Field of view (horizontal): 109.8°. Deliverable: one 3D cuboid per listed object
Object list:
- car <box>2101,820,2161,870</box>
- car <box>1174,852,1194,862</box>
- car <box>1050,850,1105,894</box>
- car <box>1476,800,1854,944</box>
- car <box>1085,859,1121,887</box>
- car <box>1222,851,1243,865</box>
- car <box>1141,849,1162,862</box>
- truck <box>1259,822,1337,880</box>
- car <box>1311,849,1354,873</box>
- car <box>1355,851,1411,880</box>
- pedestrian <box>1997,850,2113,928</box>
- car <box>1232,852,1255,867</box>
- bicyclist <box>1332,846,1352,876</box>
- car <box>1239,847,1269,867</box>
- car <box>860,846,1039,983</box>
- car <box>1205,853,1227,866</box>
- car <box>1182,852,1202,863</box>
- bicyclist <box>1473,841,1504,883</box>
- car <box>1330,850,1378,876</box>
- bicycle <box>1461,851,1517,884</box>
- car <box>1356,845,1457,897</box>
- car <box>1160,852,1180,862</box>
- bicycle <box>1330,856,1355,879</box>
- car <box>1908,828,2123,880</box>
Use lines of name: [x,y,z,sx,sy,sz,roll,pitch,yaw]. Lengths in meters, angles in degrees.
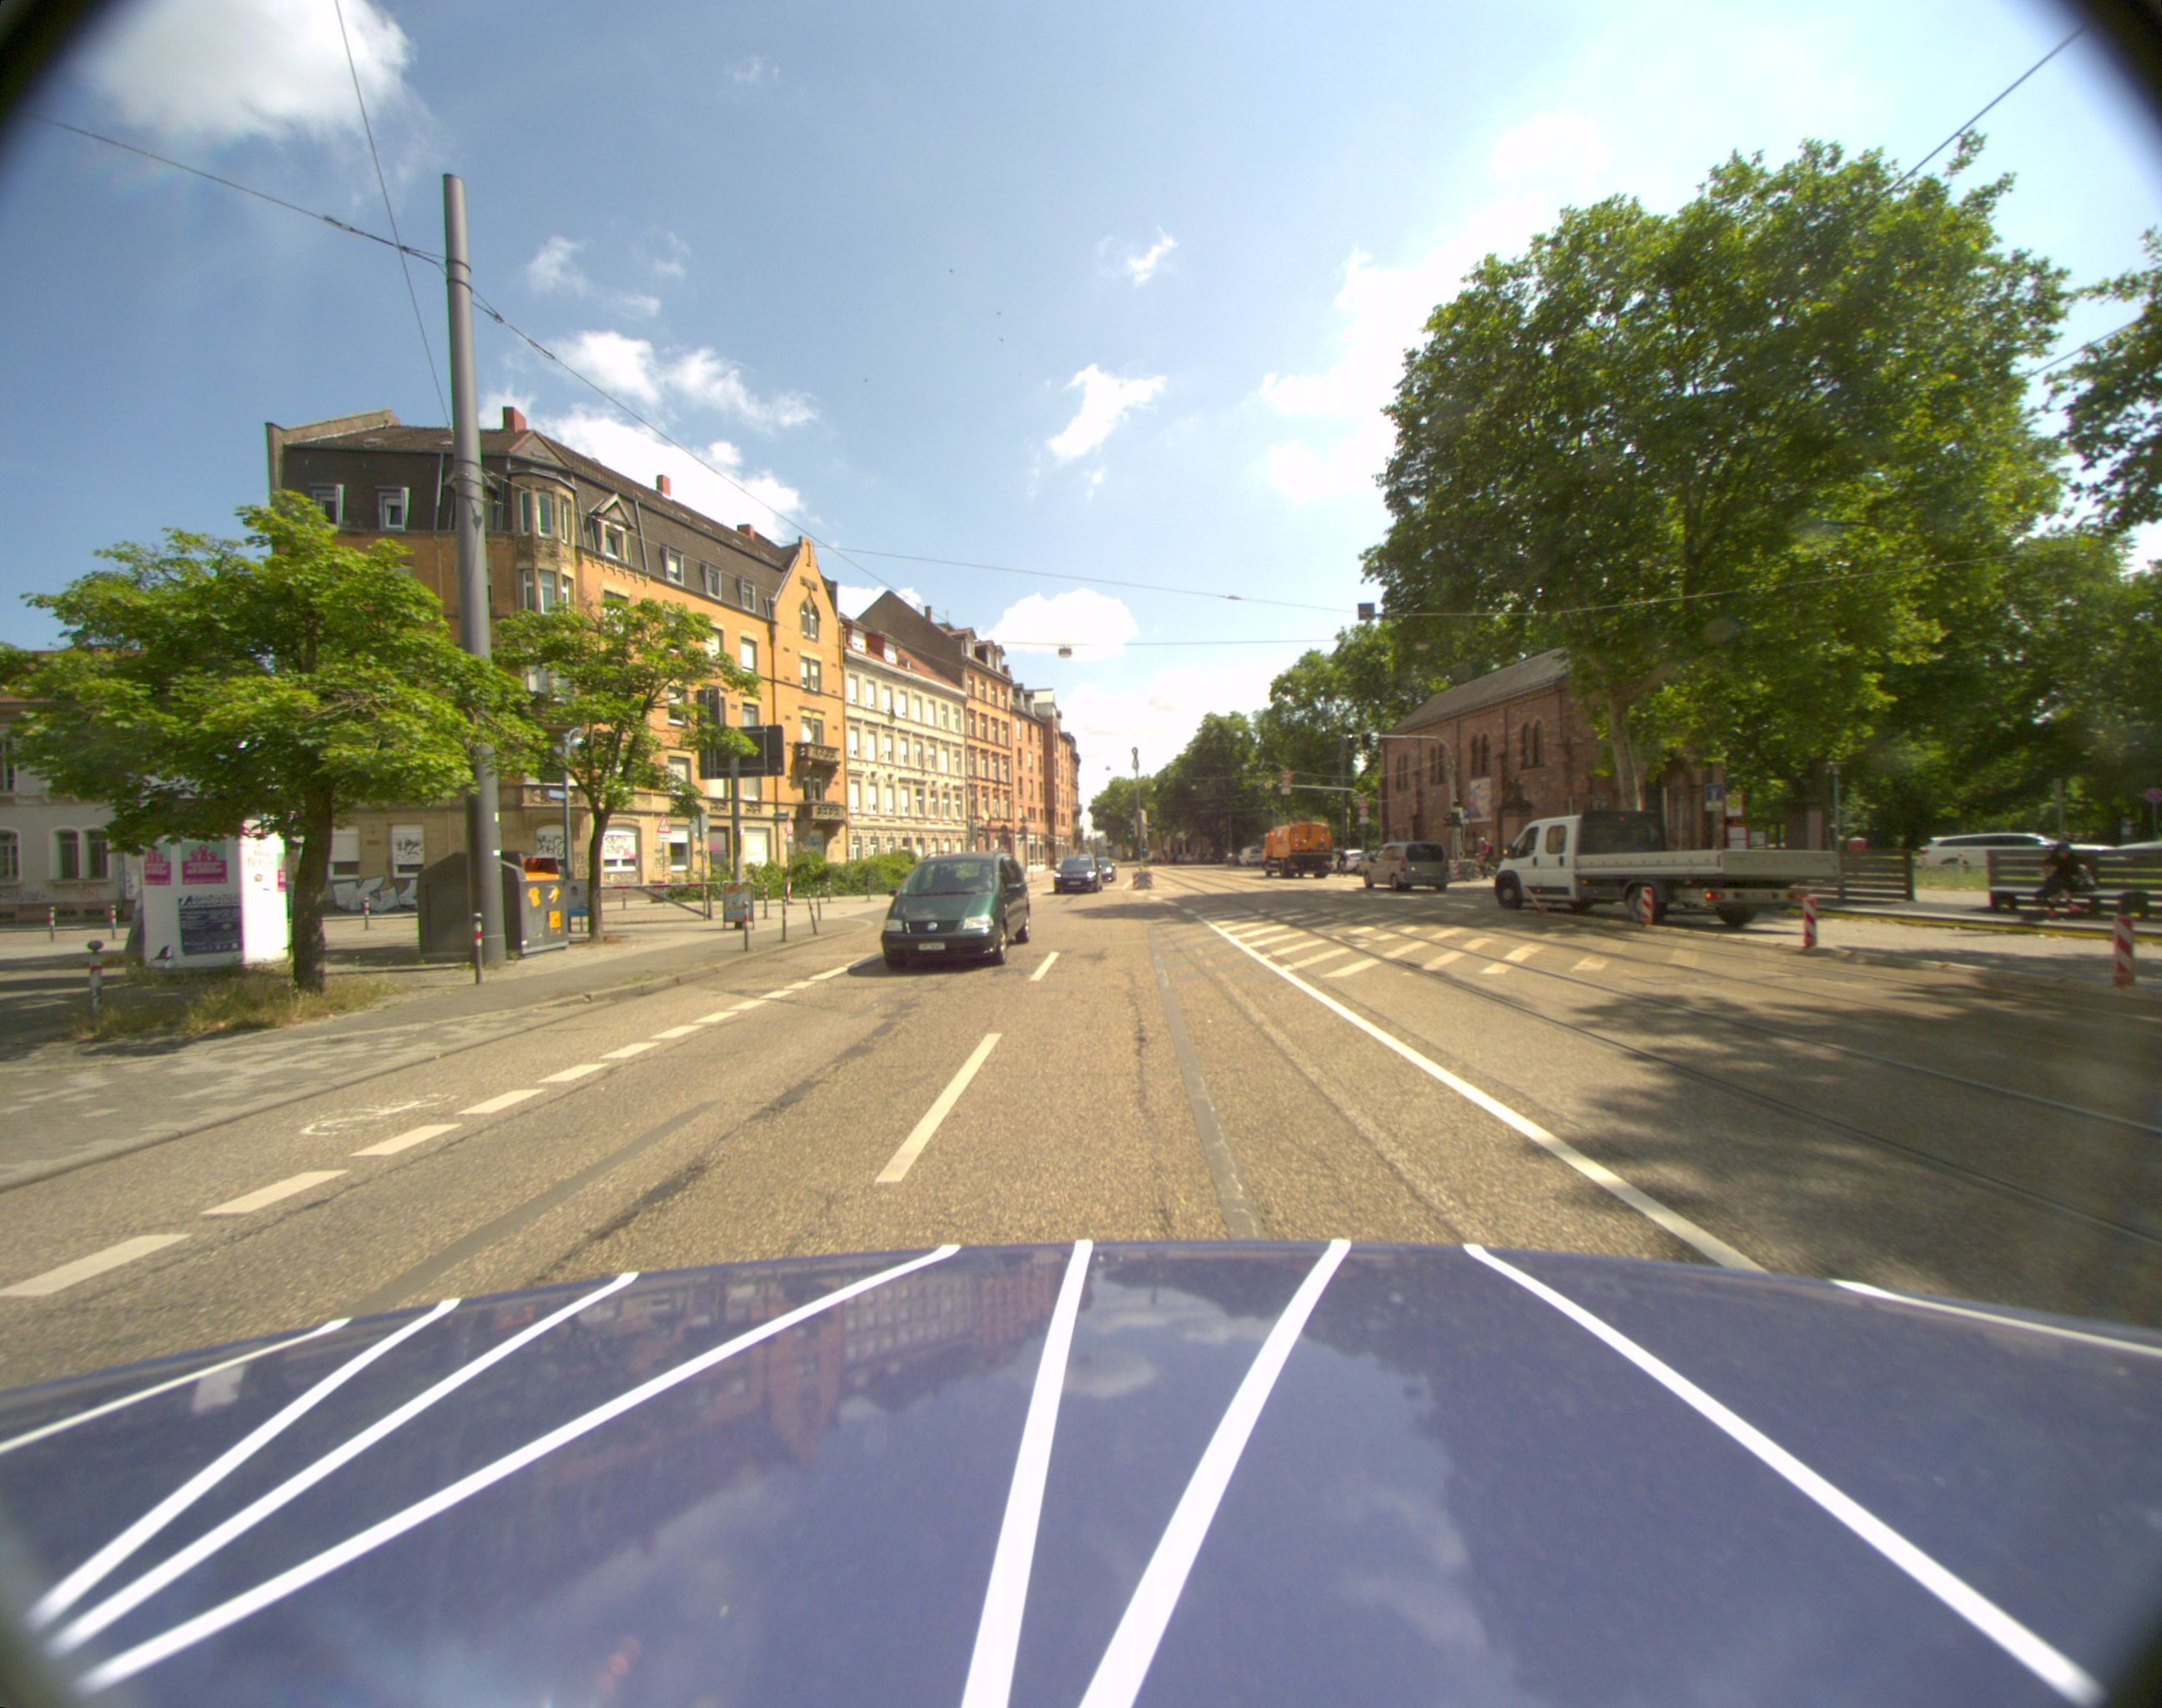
car: [38.254,-0.335,25.939,1.764,1.683,3.990,-2,1,-33]
car: [15.374,0.439,113.469,1.762,1.488,3.997,-3,1,-8]
car: [-0.078,0.719,32.405,1.874,1.610,4.190,-2,1,6]
car: [11.477,0.294,16.038,2.262,2.360,6.978,1,0,-4]
car: [1.364,1.074,45.397,1.914,1.386,4.313,-3,1,4]
car: [18.124,0.505,90.949,1.761,1.488,4.000,-3,1,2]
car: [12.572,0.303,134.948,1.764,2.172,3.991,-4,1,-28]
truck: [12.506,-0.224,44.469,2.645,3.088,7.222,0,1,2]
car: [17.711,0.468,53.657,1.761,1.488,4.000,-3,1,2]
car: [17.623,0.614,44.484,1.761,1.488,4.000,-3,1,2]
pedestrian: [16.936,0.589,13.239,0.757,1.205,0.913,-7,1,4]
car: [18.065,0.602,84.820,1.761,1.488,4.000,-3,1,2]
bicyclist: [15.169,0.397,44.198,0.703,1.676,1.176,-2,1,1]
car: [18.069,0.281,79.562,1.993,1.992,4.084,-3,1,-1]
car: [-1.962,0.817,13.022,1.823,1.746,5.031,-3,1,3]
car: [17.424,0.655,98.076,1.762,1.488,3.997,-3,1,-5]
car: [15.952,0.444,109.069,1.762,1.488,3.997,-3,1,-7]
bicyclist: [17.955,0.334,33.504,0.884,1.774,0.662,-4,1,-6]
car: [17.556,0.547,49.080,1.761,1.488,4.000,-3,1,2]
bicycle: [17.976,0.572,33.517,2.088,1.282,0.671,-4,1,-6]
car: [11.891,0.544,28.128,1.925,1.736,4.537,1,1,3]
car: [14.156,0.437,120.596,1.763,1.488,3.994,-3,1,-15]
bicycle: [15.191,0.753,44.174,0.706,1.282,2.218,-2,1,1]
car: [31.759,0.003,26.007,1.764,1.599,4.400,-2,1,-29]
